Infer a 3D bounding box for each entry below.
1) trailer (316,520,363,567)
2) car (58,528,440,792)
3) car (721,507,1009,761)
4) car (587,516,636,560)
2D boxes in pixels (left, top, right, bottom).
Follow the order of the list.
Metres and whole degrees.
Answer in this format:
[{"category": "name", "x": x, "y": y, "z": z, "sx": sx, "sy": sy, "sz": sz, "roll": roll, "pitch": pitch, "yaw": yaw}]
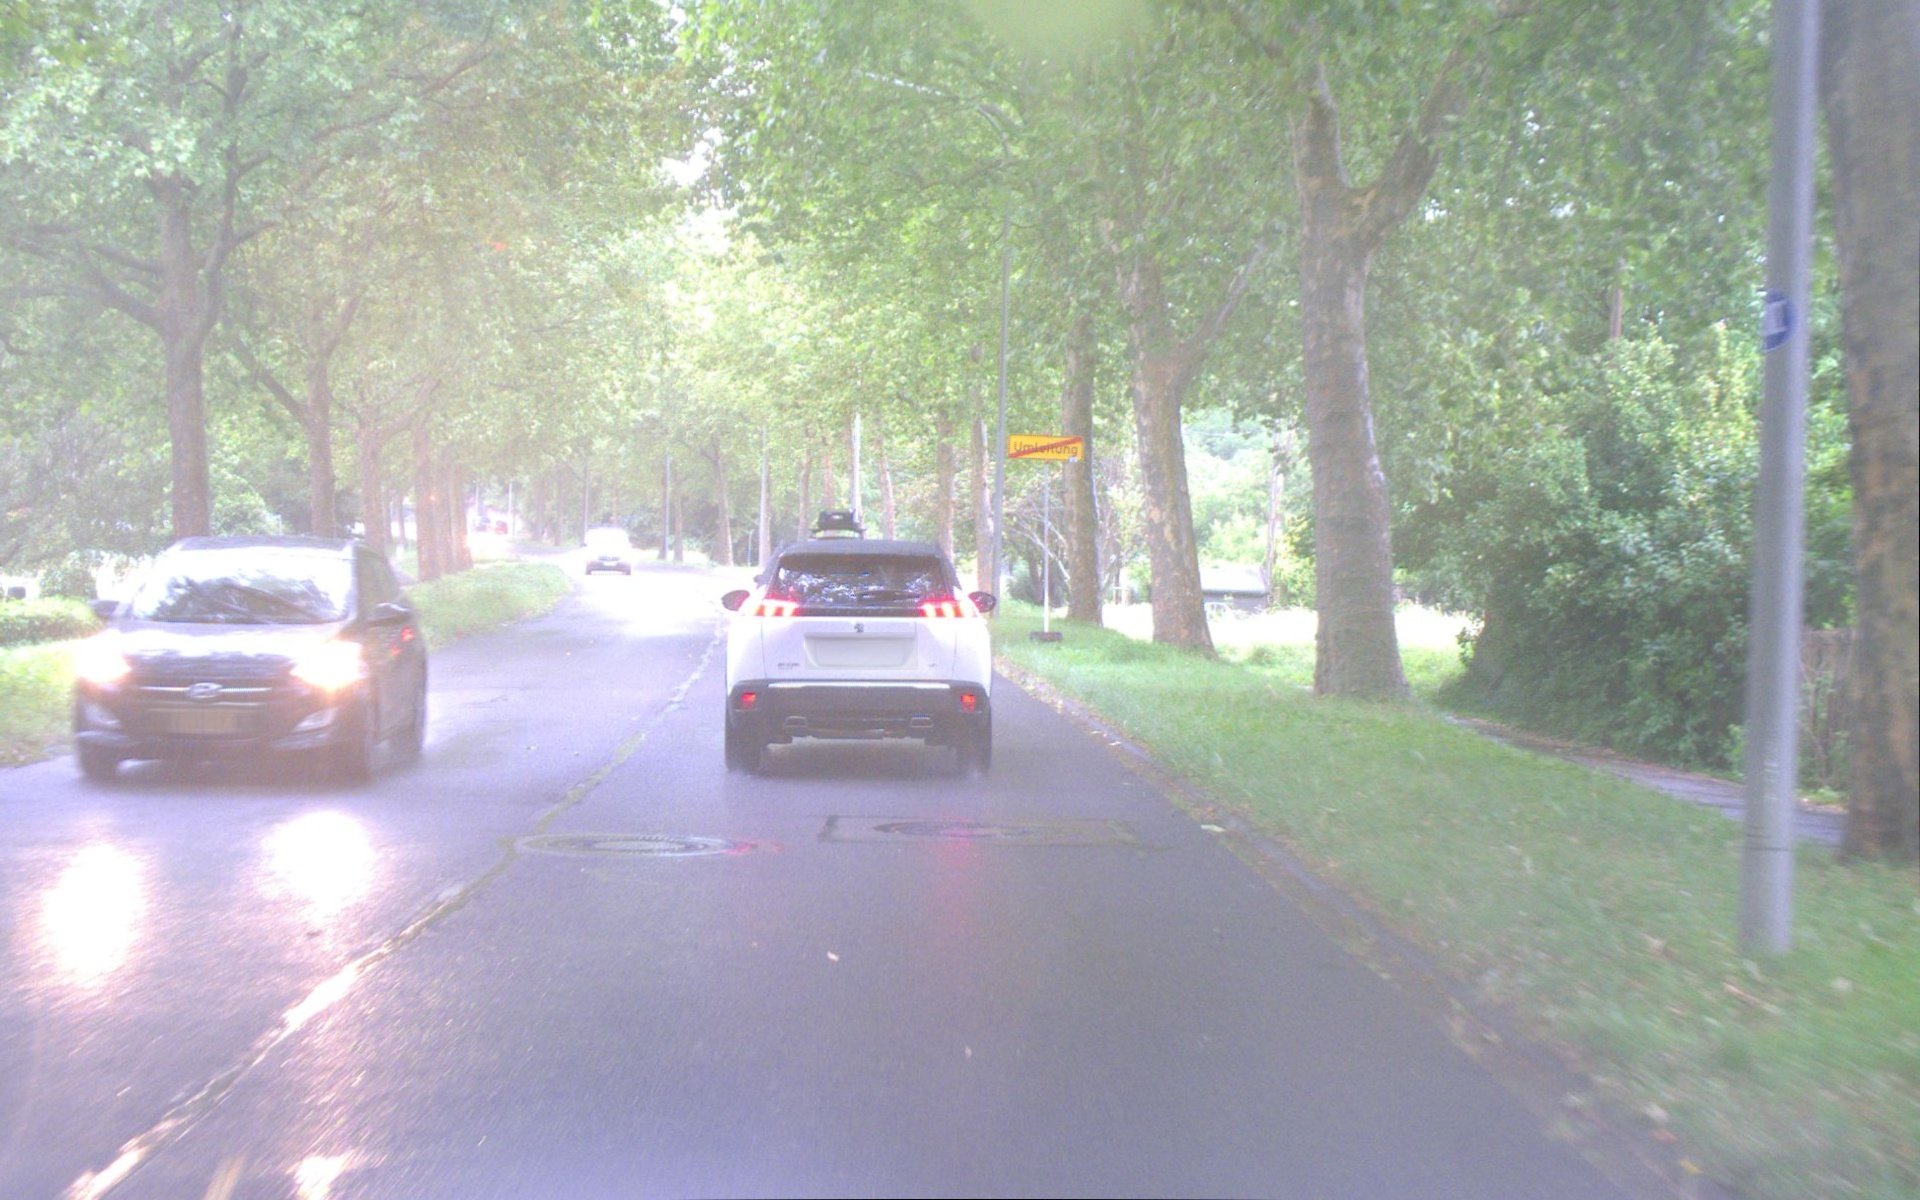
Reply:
[{"category": "trailer", "x": -34.624, "y": -3.159, "z": 191.837, "sx": 2.484, "sy": 2.558, "sz": 5.334, "roll": 2, "pitch": 1, "yaw": -10}, {"category": "car", "x": -4.454, "y": 0.322, "z": 22.088, "sx": 1.845, "sy": 1.497, "sz": 4.001, "roll": 2, "pitch": 1, "yaw": -4}, {"category": "car", "x": -0.628, "y": 0.174, "z": 23.801, "sx": 1.794, "sy": 1.573, "sz": 3.844, "roll": 2, "pitch": 1, "yaw": -1}, {"category": "car", "x": -14.552, "y": -2.603, "z": 143.731, "sx": 1.862, "sy": 1.744, "sz": 5.016, "roll": 2, "pitch": 1, "yaw": -4}]
